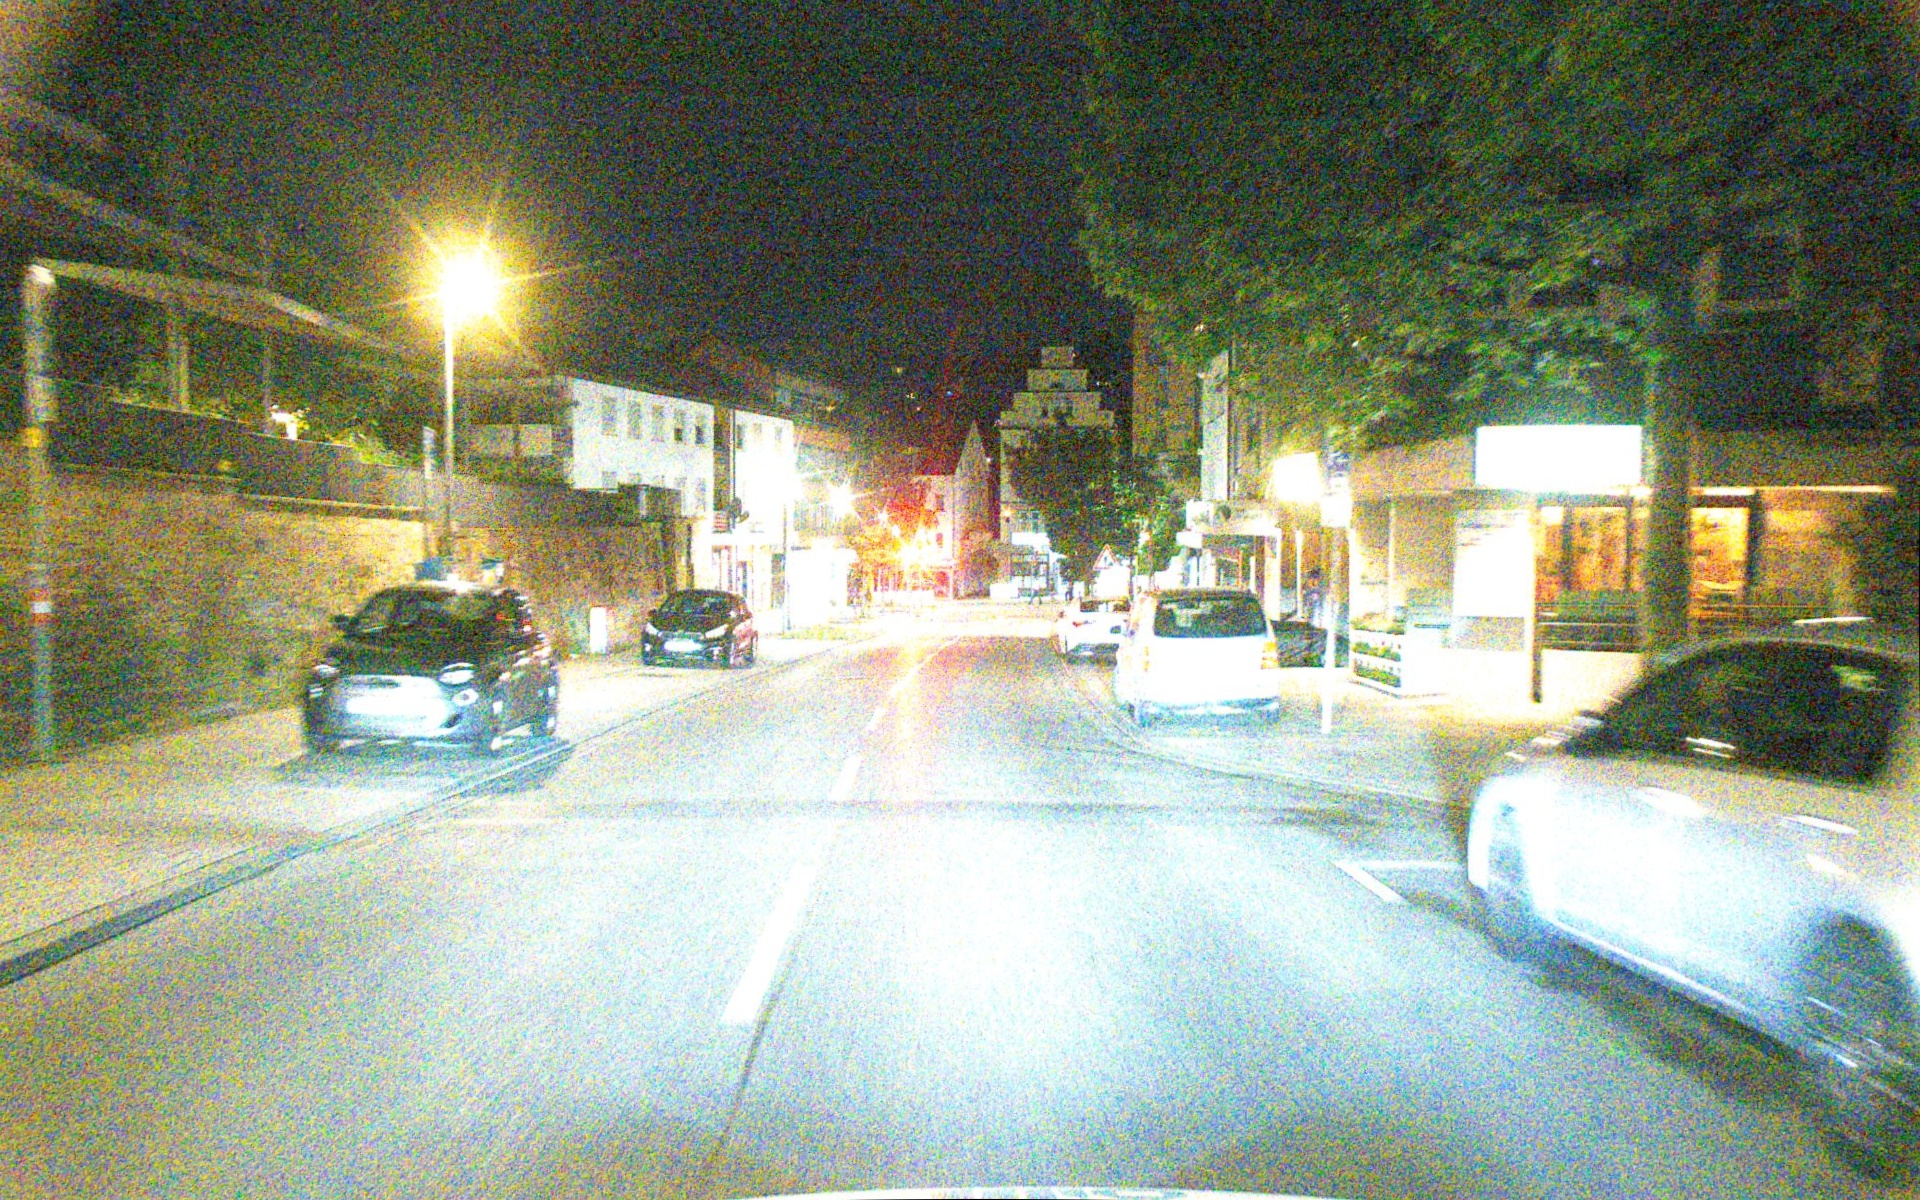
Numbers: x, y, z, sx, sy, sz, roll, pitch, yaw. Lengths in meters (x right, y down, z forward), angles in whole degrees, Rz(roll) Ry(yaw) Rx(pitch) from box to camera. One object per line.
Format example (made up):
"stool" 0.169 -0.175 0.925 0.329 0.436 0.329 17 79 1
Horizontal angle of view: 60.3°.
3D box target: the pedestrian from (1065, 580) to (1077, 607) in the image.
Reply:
"pedestrian" 7.660 -0.415 113.757 0.700 1.827 0.738 1 -1 12

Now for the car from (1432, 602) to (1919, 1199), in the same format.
"car" 3.228 0.780 5.823 1.744 1.462 4.288 2 0 -2

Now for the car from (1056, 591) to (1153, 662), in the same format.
"car" 3.169 0.548 37.027 1.819 1.467 4.595 -1 0 1

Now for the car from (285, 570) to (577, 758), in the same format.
"car" -4.883 0.561 15.792 1.657 1.550 3.690 1 -1 -2

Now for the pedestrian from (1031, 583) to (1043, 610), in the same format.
"pedestrian" 5.259 -0.268 113.048 0.700 1.827 0.570 1 -1 12

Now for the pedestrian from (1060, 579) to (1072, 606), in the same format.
"pedestrian" 7.301 -0.535 114.308 0.559 1.827 0.714 2 -1 -20

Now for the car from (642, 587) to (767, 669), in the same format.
"car" -5.020 0.509 33.006 1.656 1.461 4.129 2 1 2

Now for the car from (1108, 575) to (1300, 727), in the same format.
"car" 2.950 0.566 20.862 1.750 1.670 4.380 -1 0 0

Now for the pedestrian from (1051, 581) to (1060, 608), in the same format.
"pedestrian" 6.596 -0.365 114.421 0.556 1.827 0.718 1 -1 0
